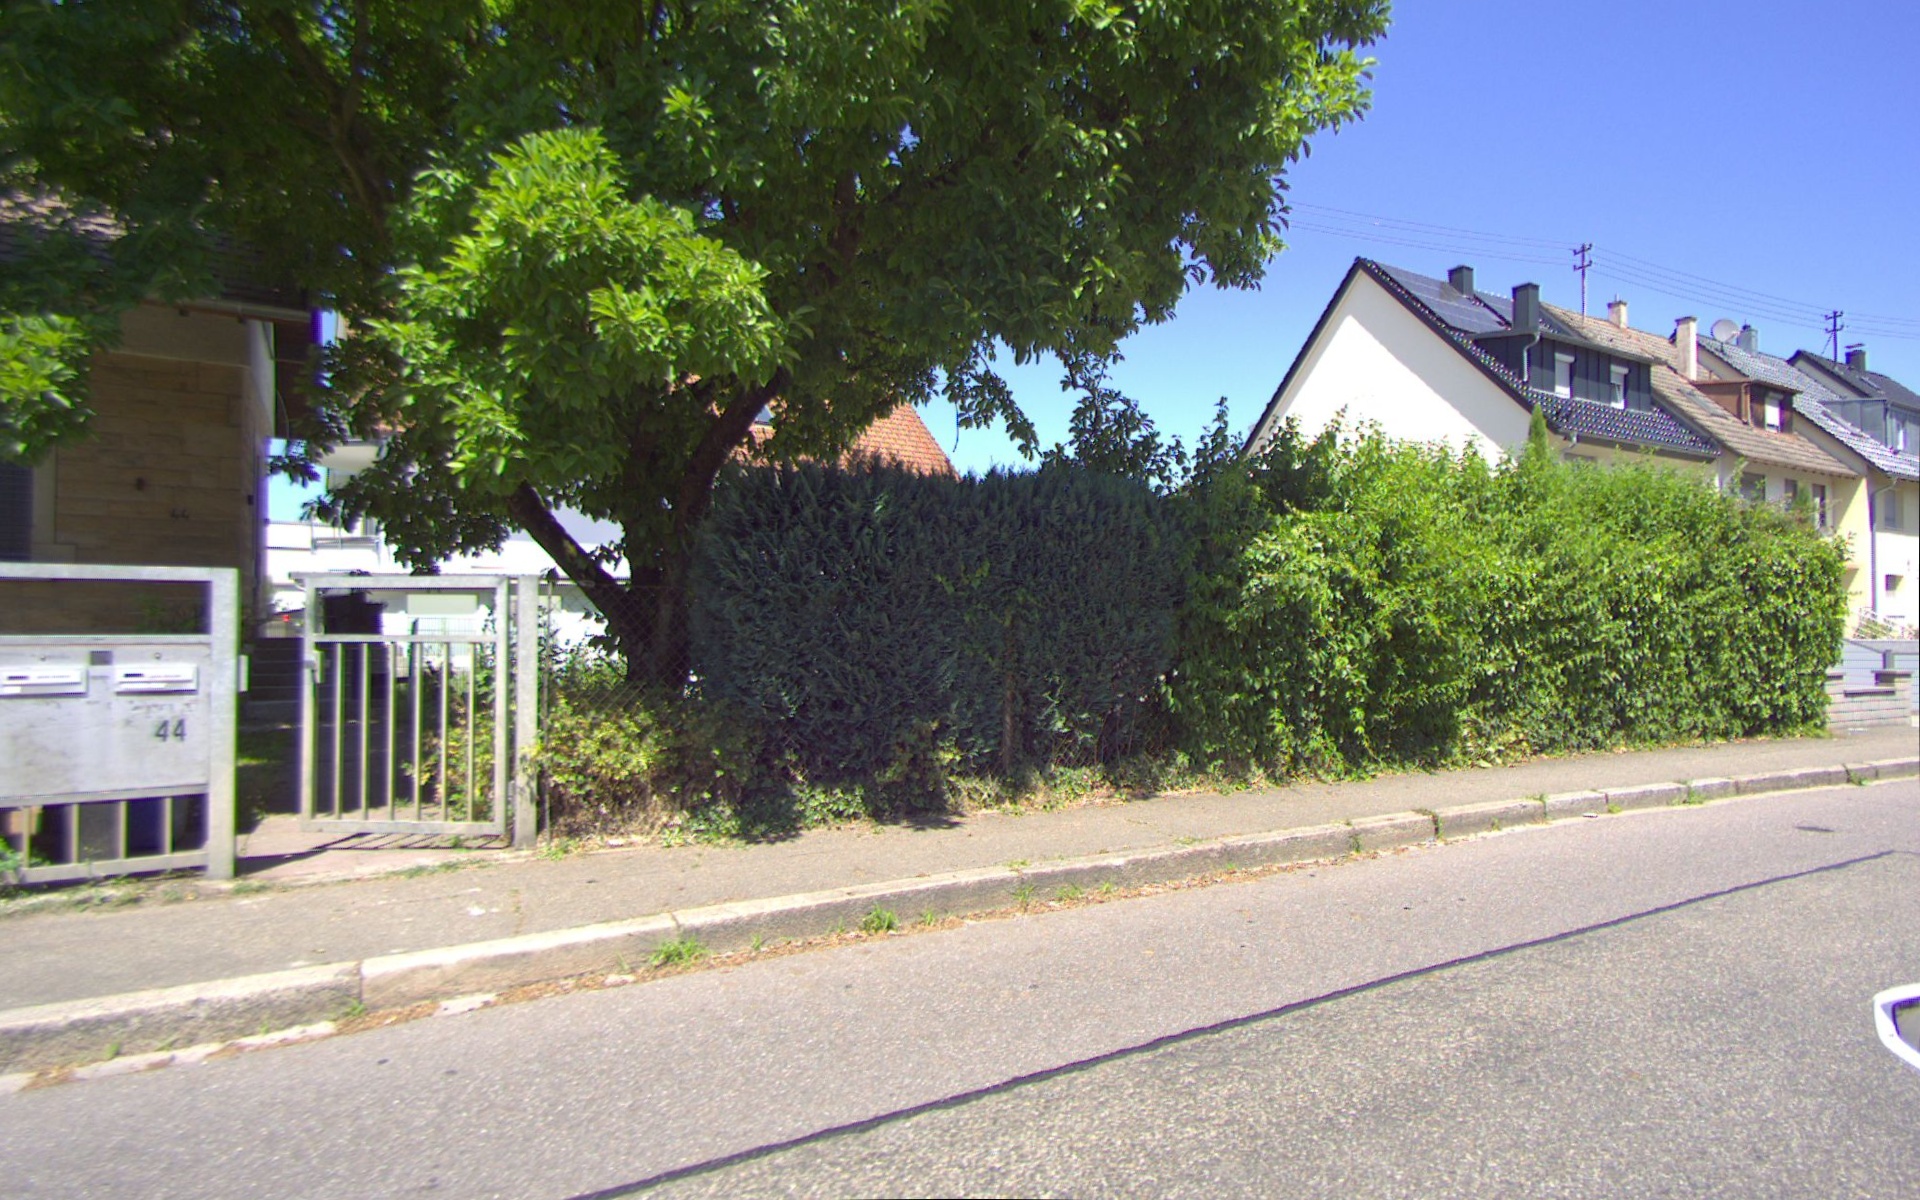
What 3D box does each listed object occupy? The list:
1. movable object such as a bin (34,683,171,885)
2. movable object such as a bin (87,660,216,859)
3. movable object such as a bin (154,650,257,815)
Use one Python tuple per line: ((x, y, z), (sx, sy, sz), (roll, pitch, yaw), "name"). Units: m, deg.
((-4.360, 0.906, 5.131), (0.454, 0.922, 0.464), (1, 0, -32), "movable object such as a bin")
((-4.515, 0.863, 5.637), (0.500, 1.023, 0.464), (1, 0, -32), "movable object such as a bin")
((-5.022, 0.857, 6.710), (0.500, 1.023, 0.464), (1, 0, -32), "movable object such as a bin")
